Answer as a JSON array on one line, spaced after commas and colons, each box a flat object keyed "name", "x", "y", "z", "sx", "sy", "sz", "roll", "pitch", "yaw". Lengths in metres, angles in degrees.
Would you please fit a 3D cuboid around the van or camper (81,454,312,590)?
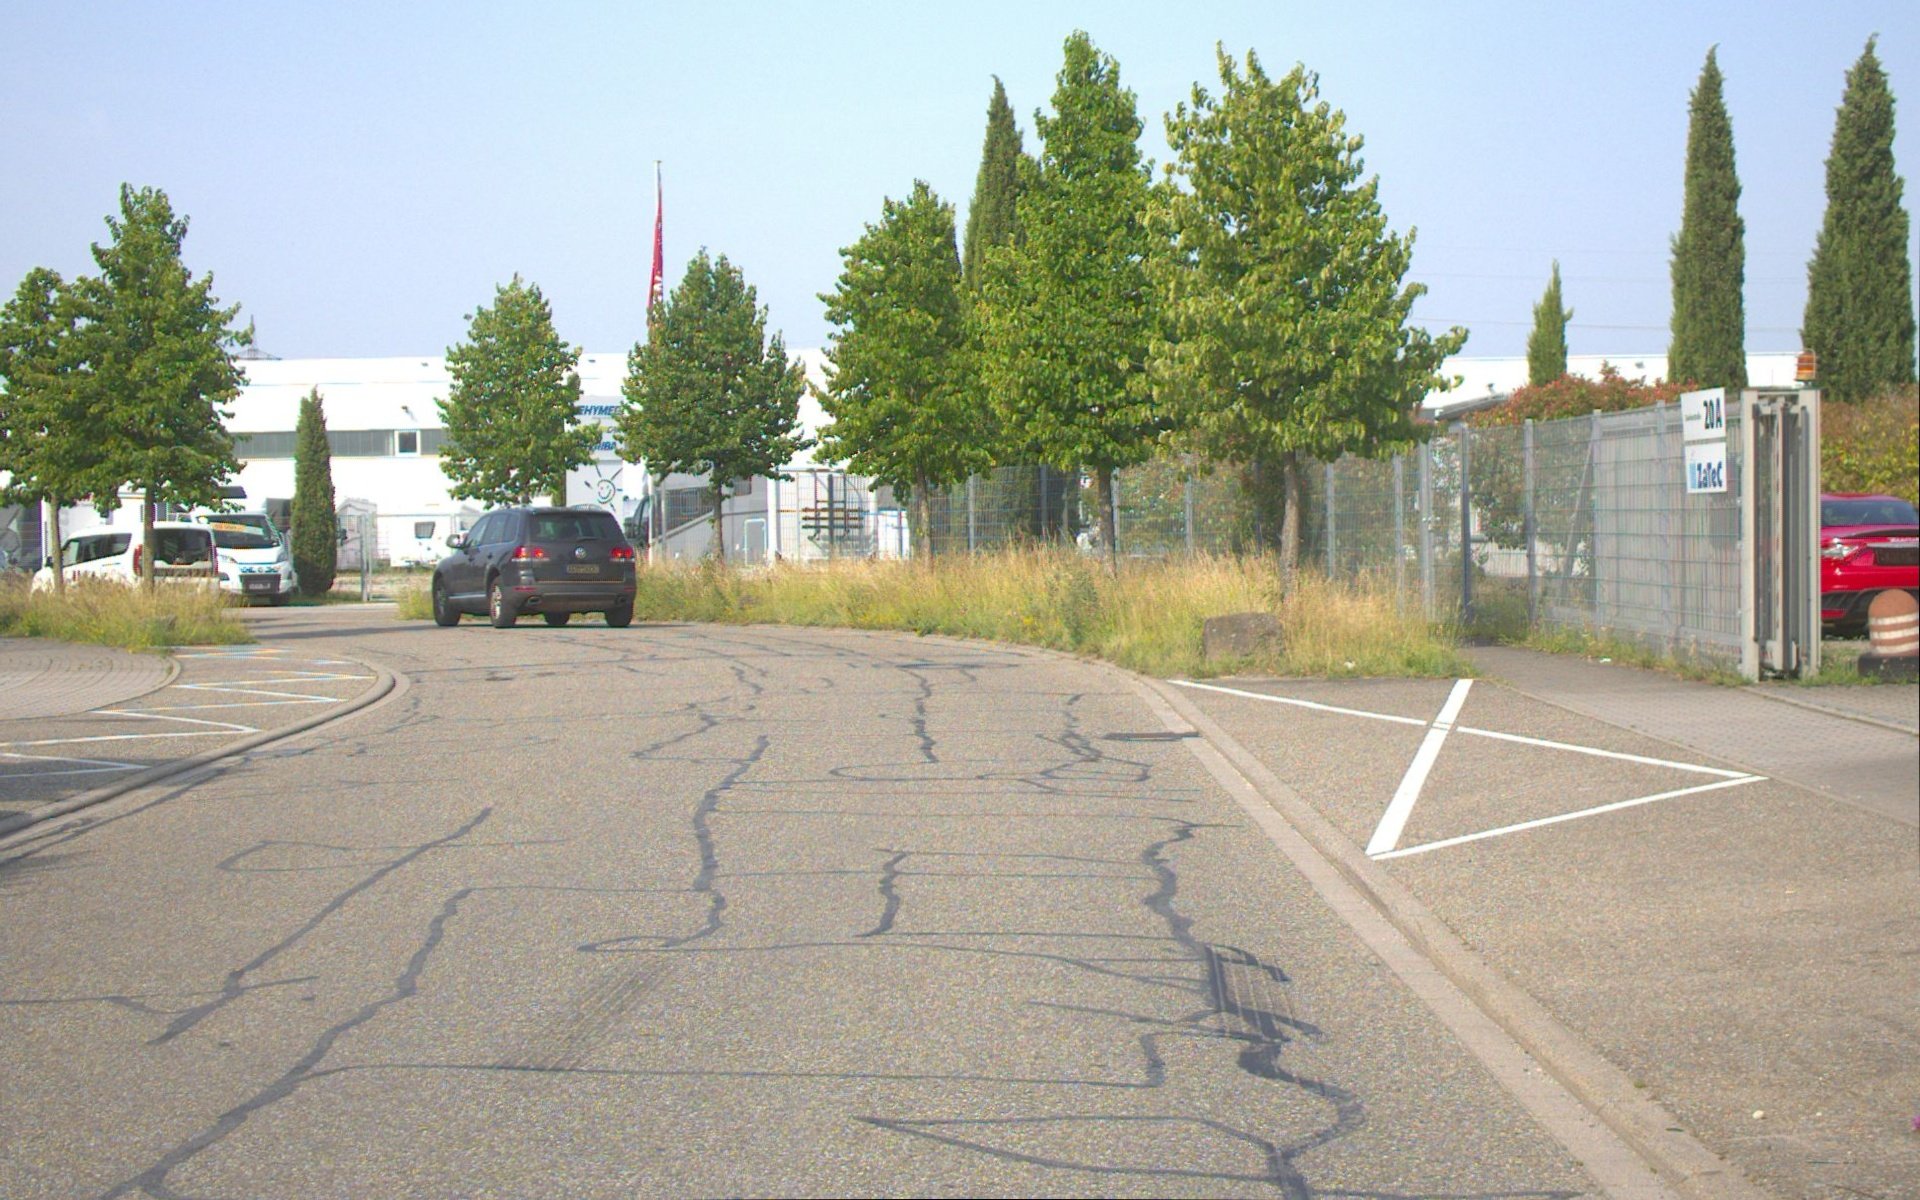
[{"name": "van or camper", "x": -17.349, "y": -1.768, "z": 77.824, "sx": 2.331, "sy": 2.933, "sz": 6.969, "roll": -2, "pitch": 2, "yaw": -37}]

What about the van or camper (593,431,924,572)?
[{"name": "van or camper", "x": -4.559, "y": -2.207, "z": 77.135, "sx": 7.257, "sy": 3.021, "sz": 2.586, "roll": -1, "pitch": 1, "yaw": -6}]

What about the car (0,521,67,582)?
[{"name": "car", "x": -24.210, "y": -1.203, "z": 85.509, "sx": 2.167, "sy": 1.471, "sz": 3.997, "roll": -1, "pitch": 1, "yaw": 15}]

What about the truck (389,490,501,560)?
[{"name": "truck", "x": -17.225, "y": -2.545, "z": 115.470, "sx": 2.450, "sy": 2.257, "sz": 8.002, "roll": -1, "pitch": 1, "yaw": 1}]

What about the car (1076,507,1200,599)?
[{"name": "car", "x": 3.288, "y": -0.908, "z": 64.304, "sx": 1.722, "sy": 1.637, "sz": 4.001, "roll": 1, "pitch": 1, "yaw": -6}]

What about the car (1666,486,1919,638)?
[{"name": "car", "x": 8.425, "y": -0.414, "z": 33.394, "sx": 1.880, "sy": 1.353, "sz": 4.774, "roll": -1, "pitch": 1, "yaw": -4}]

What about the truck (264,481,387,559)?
[{"name": "truck", "x": -20.770, "y": -2.635, "z": 112.963, "sx": 2.450, "sy": 2.462, "sz": 8.002, "roll": -1, "pitch": 1, "yaw": 1}]

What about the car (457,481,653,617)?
[{"name": "car", "x": -5.709, "y": -0.697, "z": 48.068, "sx": 1.993, "sy": 1.798, "sz": 4.001, "roll": 0, "pitch": 0, "yaw": -18}]

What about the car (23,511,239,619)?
[{"name": "car", "x": -15.309, "y": -0.654, "z": 63.357, "sx": 1.994, "sy": 1.893, "sz": 4.465, "roll": -2, "pitch": 2, "yaw": -41}]

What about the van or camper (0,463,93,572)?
[{"name": "van or camper", "x": -27.666, "y": -2.439, "z": 100.553, "sx": 2.662, "sy": 3.073, "sz": 6.795, "roll": 0, "pitch": 2, "yaw": 2}]

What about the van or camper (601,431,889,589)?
[{"name": "van or camper", "x": -4.200, "y": -1.670, "z": 65.551, "sx": 2.349, "sy": 2.838, "sz": 7.342, "roll": -1, "pitch": 1, "yaw": -31}]

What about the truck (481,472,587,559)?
[{"name": "truck", "x": -14.241, "y": -2.842, "z": 115.535, "sx": 2.450, "sy": 2.816, "sz": 8.002, "roll": -1, "pitch": 1, "yaw": 1}]

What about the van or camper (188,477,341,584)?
[{"name": "van or camper", "x": -17.275, "y": -1.784, "z": 85.772, "sx": 2.483, "sy": 2.550, "sz": 6.626, "roll": 0, "pitch": 2, "yaw": 0}]
